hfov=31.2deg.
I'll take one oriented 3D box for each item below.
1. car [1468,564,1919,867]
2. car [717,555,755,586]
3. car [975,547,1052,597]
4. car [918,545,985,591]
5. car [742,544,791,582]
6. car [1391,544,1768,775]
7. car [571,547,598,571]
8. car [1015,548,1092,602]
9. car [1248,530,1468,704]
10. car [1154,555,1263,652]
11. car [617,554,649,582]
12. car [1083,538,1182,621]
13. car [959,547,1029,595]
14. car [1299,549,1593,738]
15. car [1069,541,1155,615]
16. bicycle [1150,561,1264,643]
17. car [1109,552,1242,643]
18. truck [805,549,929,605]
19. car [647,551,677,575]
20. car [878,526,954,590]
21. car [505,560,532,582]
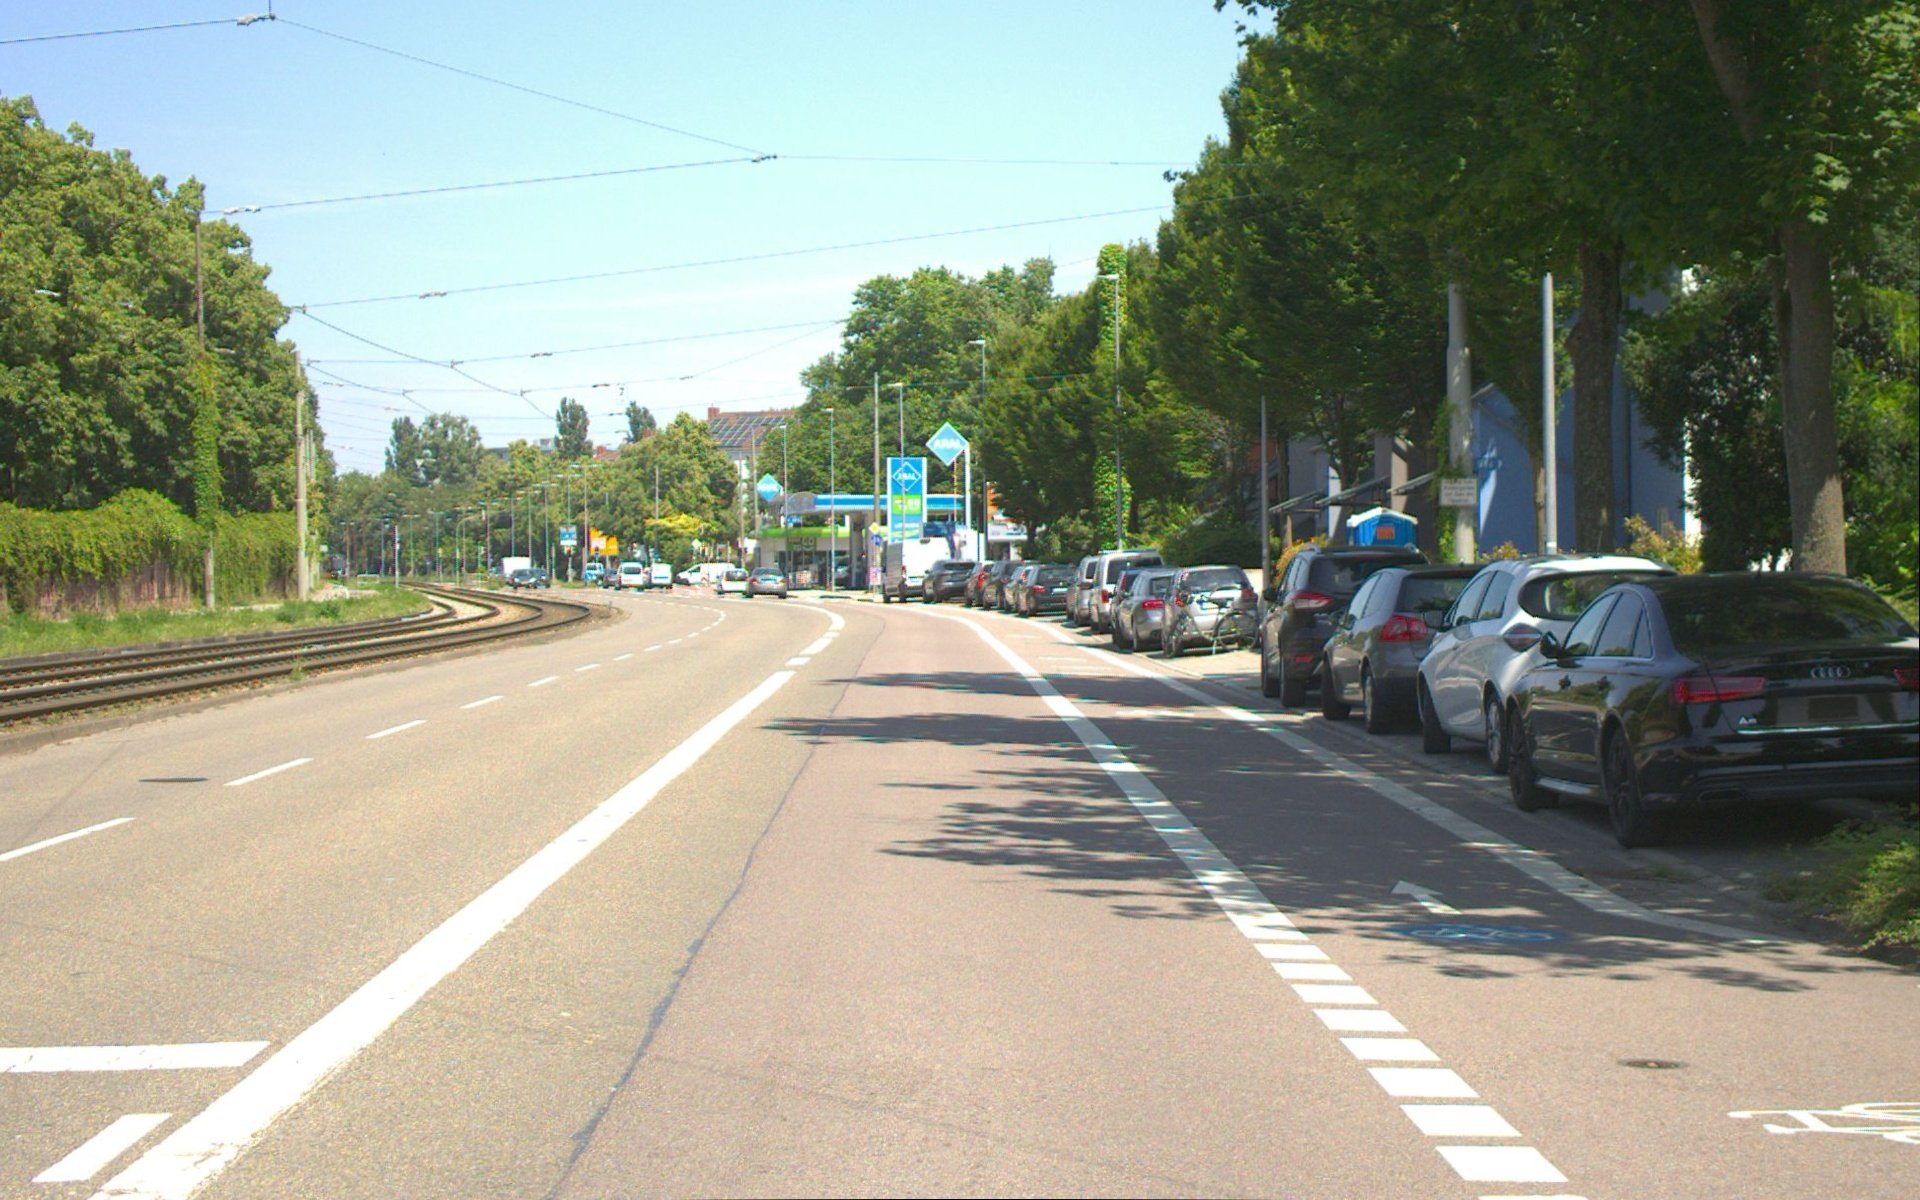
[{"bbox_3d":[4.358,0.566,20.023,1.840,1.431,4.825,-3,1,-2],"label":"car"},{"bbox_3d":[-12.724,-1.670,194.928,1.755,1.625,4.325,-3,1,-8],"label":"car"},{"bbox_3d":[1.754,-0.944,113.501,1.706,1.557,4.325,-3,1,-10],"label":"car"},{"bbox_3d":[-0.332,-1.200,129.387,1.755,1.625,4.325,-3,1,-10],"label":"car"},{"bbox_3d":[-9.025,-1.732,160.120,1.755,1.625,4.325,-3,1,-10],"label":"car"},{"bbox_3d":[4.606,0.381,26.181,1.840,1.524,4.206,-3,1,-3],"label":"car"},{"bbox_3d":[-26.738,-2.927,244.824,1.755,1.625,4.325,-3,1,-8],"label":"car"},{"bbox_3d":[2.746,-0.771,102.324,1.706,1.487,5.039,-3,1,-4],"label":"car"},{"bbox_3d":[4.254,0.125,37.383,1.840,1.700,4.626,-2,1,1],"label":"car"},{"bbox_3d":[4.249,0.040,59.305,1.519,1.524,3.817,-3,1,0],"label":"car"},{"bbox_3d":[-22.241,-2.180,233.680,1.755,1.868,4.325,-3,1,-10],"label":"car"},{"bbox_3d":[3.952,-0.497,79.286,1.840,1.788,4.354,-3,1,-2],"label":"car"},{"bbox_3d":[1.167,-1.025,119.416,1.706,1.557,4.325,-3,1,-8],"label":"car"},{"bbox_3d":[4.399,0.340,31.749,1.840,1.524,4.354,-3,1,-3],"label":"car"},{"bbox_3d":[3.741,-0.577,85.470,1.840,1.688,4.778,-3,1,0],"label":"car"},{"bbox_3d":[4.111,0.029,57.265,1.774,1.224,0.683,-5,0,4],"label":"bicycle"},{"bbox_3d":[3.977,-0.077,64.147,1.840,1.524,4.966,-3,1,-3],"label":"car"},{"bbox_3d":[-6.104,-1.520,224.330,7.967,3.590,2.663,0,1,-3],"label":"truck"},{"bbox_3d":[-21.540,-2.659,248.196,1.755,1.625,4.325,-3,1,-10],"label":"car"},{"bbox_3d":[-1.816,-1.701,139.495,2.000,2.448,6.111,-3,1,-10],"label":"car"},{"bbox_3d":[-32.471,-2.117,252.801,1.755,1.504,4.325,-3,1,-10],"label":"car"}]
